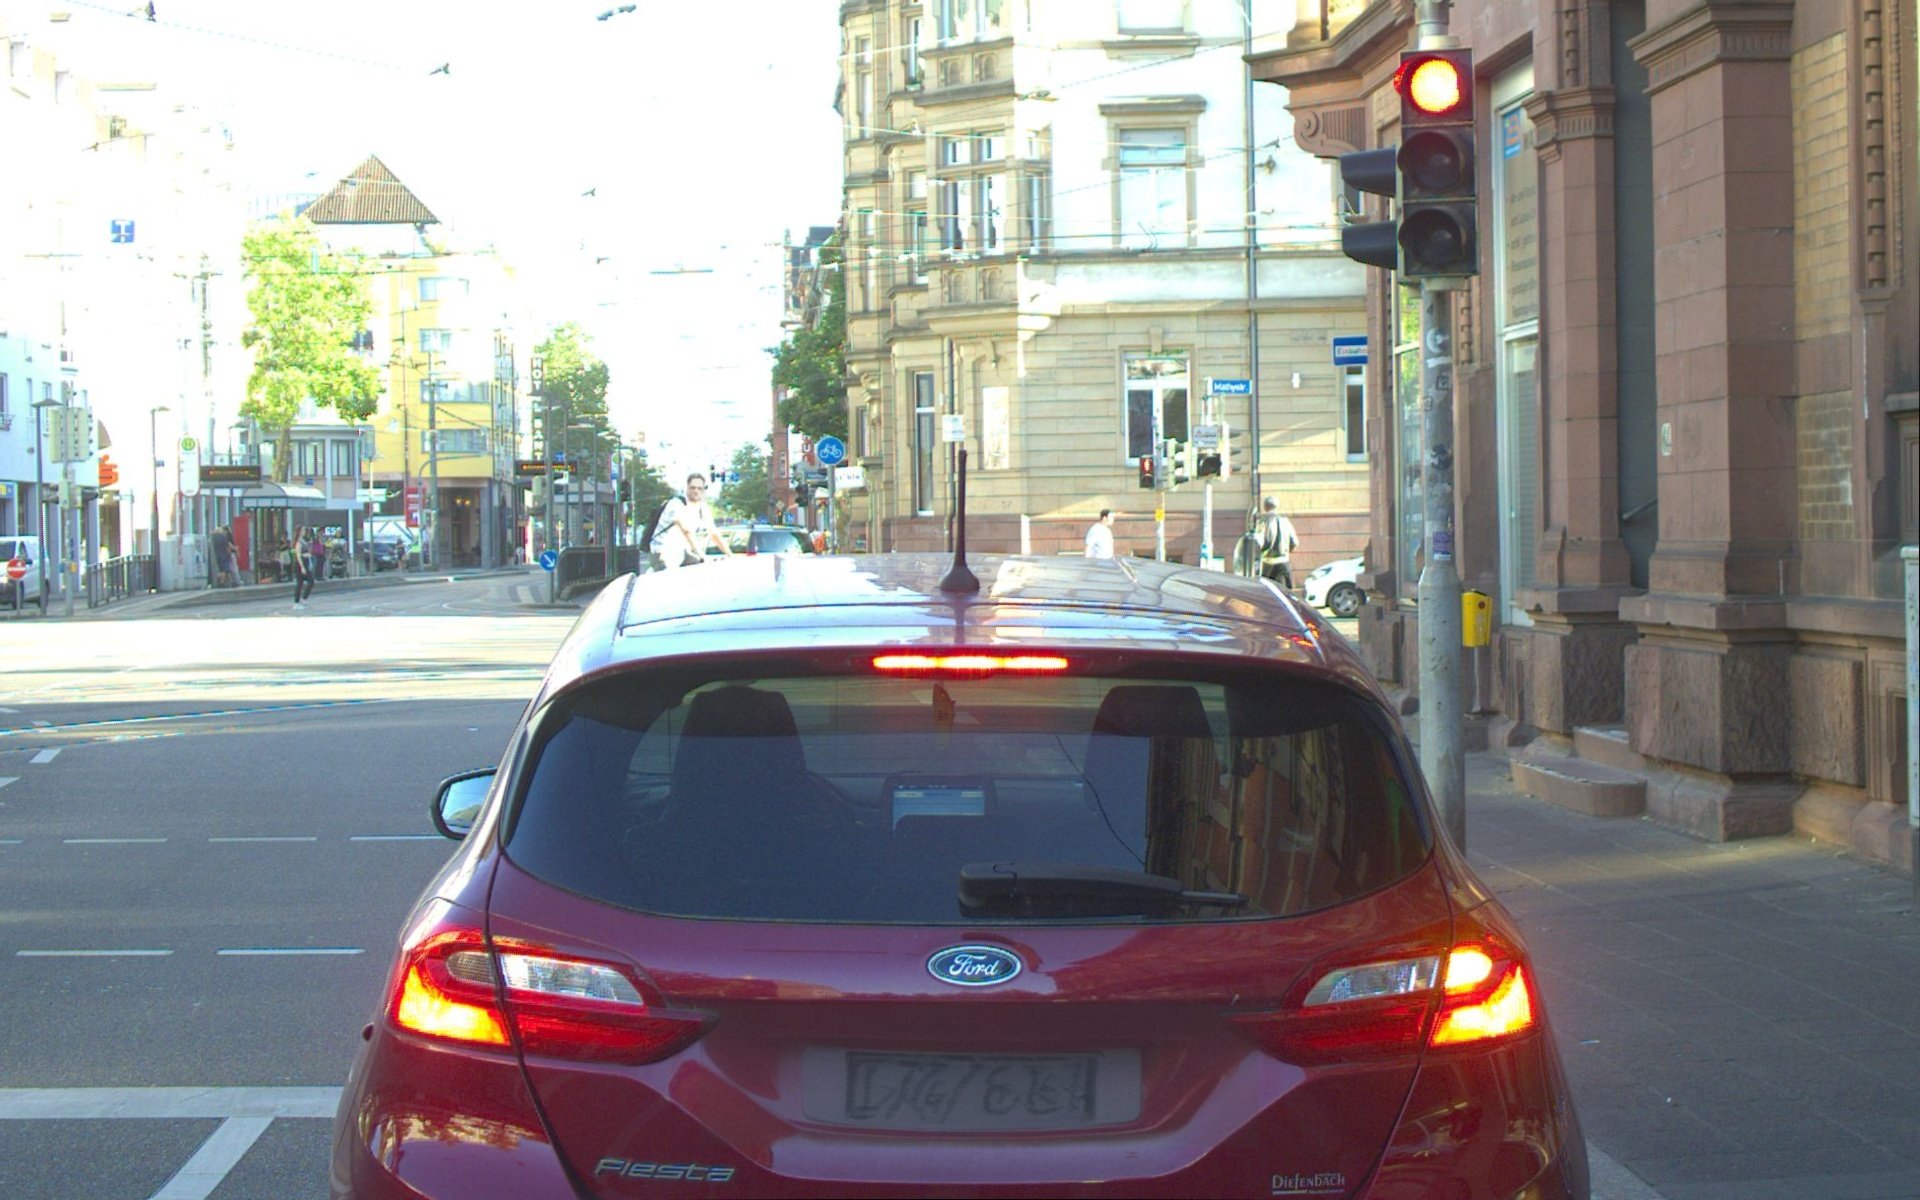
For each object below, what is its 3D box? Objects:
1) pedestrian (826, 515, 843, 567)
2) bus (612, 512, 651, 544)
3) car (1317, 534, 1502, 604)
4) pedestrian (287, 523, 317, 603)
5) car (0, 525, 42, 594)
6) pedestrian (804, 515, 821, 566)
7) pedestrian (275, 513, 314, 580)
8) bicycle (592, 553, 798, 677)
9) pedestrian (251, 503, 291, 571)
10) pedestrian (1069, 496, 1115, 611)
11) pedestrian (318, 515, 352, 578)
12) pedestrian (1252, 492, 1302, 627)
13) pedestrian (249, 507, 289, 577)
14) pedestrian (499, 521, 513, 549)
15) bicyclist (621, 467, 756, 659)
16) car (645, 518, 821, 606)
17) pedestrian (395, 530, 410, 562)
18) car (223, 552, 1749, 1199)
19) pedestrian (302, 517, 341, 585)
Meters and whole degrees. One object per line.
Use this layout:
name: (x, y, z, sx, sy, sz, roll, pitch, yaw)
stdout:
pedestrian: (-4.897, -2.317, 134.488, 0.577, 2.007, 0.631, -1, 1, 3)
bus: (-20.714, -4.550, 217.013, 1.925, 2.007, 7.138, -1, 1, -2)
car: (7.412, -0.513, 56.810, 2.886, 1.100, 1.254, -1, 1, 1)
pedestrian: (-13.945, -0.794, 72.856, 0.524, 1.676, 0.486, -1, 1, -3)
car: (-24.524, -1.032, 87.165, 1.701, 1.712, 3.565, -1, 1, -4)
pedestrian: (-5.848, -2.350, 136.560, 0.577, 2.007, 0.631, -1, 1, 3)
pedestrian: (-20.257, -1.637, 104.726, 1.045, 2.007, 0.959, -1, 1, -5)
bicycle: (-2.556, 0.136, 33.014, 2.009, 1.143, 0.808, 0, 2, 43)
pedestrian: (-20.586, -1.876, 102.698, 1.045, 2.007, 0.959, -1, 1, -5)
pedestrian: (2.336, -0.824, 60.661, 0.757, 2.007, 0.653, -1, 1, 5)
pedestrian: (-20.181, -1.718, 111.050, 0.956, 2.007, 1.049, -1, 1, -5)
pedestrian: (4.171, -0.533, 45.251, 0.560, 1.749, 0.650, -1, 1, -1)
pedestrian: (-20.230, -1.697, 100.681, 0.956, 2.007, 1.049, -1, 1, -3)
pedestrian: (-25.981, -3.736, 196.693, 0.628, 1.599, 0.579, -1, 1, -20)
bicyclist: (-2.612, -0.357, 33.091, 0.992, 1.815, 0.808, 0, 1, 43)
car: (-4.192, -0.692, 63.004, 1.450, 1.543, 3.909, -2, 1, -33)
pedestrian: (-25.802, -2.487, 159.111, 0.580, 1.483, 0.526, -1, 1, -5)
car: (-0.133, 0.668, 5.920, 1.754, 1.461, 3.946, 1, 1, -5)
pedestrian: (-19.084, -1.474, 102.773, 1.045, 2.007, 0.959, -1, 1, -5)
